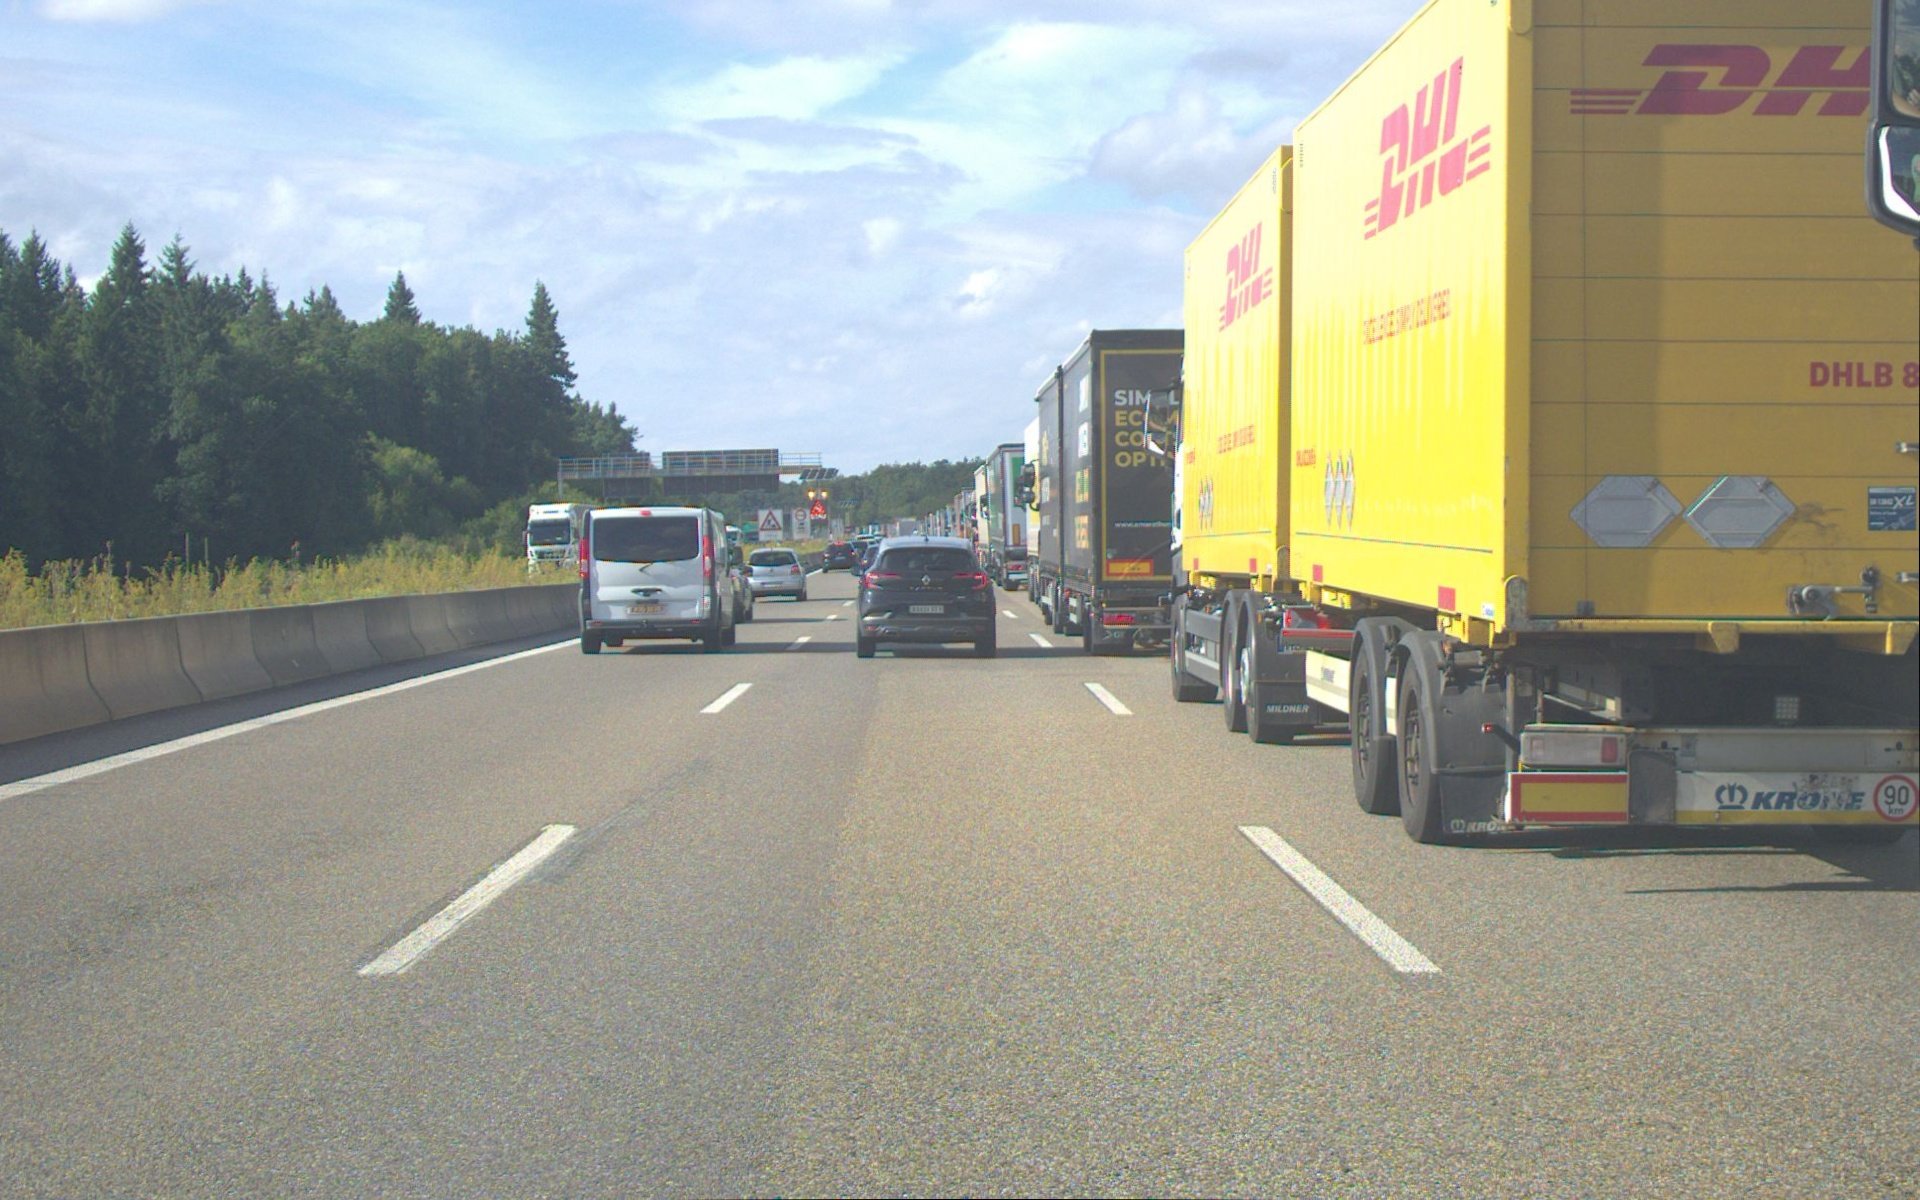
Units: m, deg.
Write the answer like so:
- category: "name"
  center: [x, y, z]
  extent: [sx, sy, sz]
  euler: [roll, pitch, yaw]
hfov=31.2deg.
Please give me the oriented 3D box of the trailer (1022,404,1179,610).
- category: "trailer"
  center: [2.841, -1.882, 73.024]
  extent: [2.792, 3.925, 13.070]
  euler: [-1, 1, 0]

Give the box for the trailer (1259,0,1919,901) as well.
- category: "trailer"
  center: [3.286, -0.902, 18.355]
  extent: [2.412, 4.054, 8.927]
  euler: [1, 1, -1]

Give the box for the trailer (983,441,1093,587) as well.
- category: "trailer"
  center: [2.149, -2.413, 99.335]
  extent: [2.661, 3.855, 13.395]
  euler: [-2, 1, 0]

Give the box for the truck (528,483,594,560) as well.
- category: "truck"
  center: [-21.263, -4.161, 183.438]
  extent: [2.819, 3.962, 5.833]
  euler: [-1, 1, -1]

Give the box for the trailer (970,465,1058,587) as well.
- category: "trailer"
  center: [1.880, -2.676, 124.908]
  extent: [2.703, 4.068, 12.945]
  euler: [-3, 1, 0]

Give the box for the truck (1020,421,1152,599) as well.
- category: "truck"
  center: [2.866, -2.043, 79.558]
  extent: [2.802, 3.925, 5.826]
  euler: [-1, 1, 0]

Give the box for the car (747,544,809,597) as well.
- category: "car"
  center: [-4.886, -0.802, 92.625]
  extent: [1.500, 1.391, 3.476]
  euler: [1, 1, -1]

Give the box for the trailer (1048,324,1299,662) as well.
- category: "trailer"
  center: [2.635, -1.369, 45.055]
  extent: [2.716, 3.947, 8.711]
  euler: [1, 1, 0]

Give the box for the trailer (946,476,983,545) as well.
- category: "trailer"
  center: [0.300, -5.636, 218.003]
  extent: [2.150, 4.244, 8.440]
  euler: [-2, 1, 0]

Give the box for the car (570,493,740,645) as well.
- category: "car"
  center: [-4.192, -0.444, 47.978]
  extent: [1.933, 1.972, 5.099]
  euler: [1, 1, -1]

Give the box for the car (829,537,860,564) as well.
- category: "car"
  center: [-5.642, -2.411, 167.951]
  extent: [1.434, 1.305, 3.533]
  euler: [1, 1, -1]

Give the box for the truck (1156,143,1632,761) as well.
- category: "truck"
  center: [3.155, -1.072, 27.665]
  extent: [2.412, 4.054, 9.665]
  euler: [1, 1, -1]

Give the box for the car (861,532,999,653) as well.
- category: "car"
  center: [-0.398, -0.124, 45.049]
  extent: [1.696, 1.478, 4.160]
  euler: [1, 1, -1]

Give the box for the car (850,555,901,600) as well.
- category: "car"
  center: [-2.701, -0.731, 110.332]
  extent: [1.581, 1.391, 3.208]
  euler: [1, 1, -1]

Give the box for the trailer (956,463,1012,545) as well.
- category: "trailer"
  center: [1.299, -5.252, 189.612]
  extent: [2.802, 4.229, 11.057]
  euler: [-3, 1, 0]

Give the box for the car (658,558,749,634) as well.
- category: "car"
  center: [-4.908, -0.088, 66.141]
  extent: [1.500, 1.391, 3.476]
  euler: [1, 1, -1]

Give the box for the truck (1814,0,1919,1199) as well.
- category: "truck"
  center: [3.537, -0.588, 5.270]
  extent: [2.648, 4.075, 6.492]
  euler: [1, 1, -1]

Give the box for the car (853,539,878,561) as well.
- category: "car"
  center: [-5.624, -2.985, 205.162]
  extent: [1.434, 1.305, 3.533]
  euler: [1, 1, -1]

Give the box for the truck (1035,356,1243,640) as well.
- category: "truck"
  center: [2.681, -1.532, 54.512]
  extent: [2.741, 4.024, 10.203]
  euler: [1, 1, 0]
